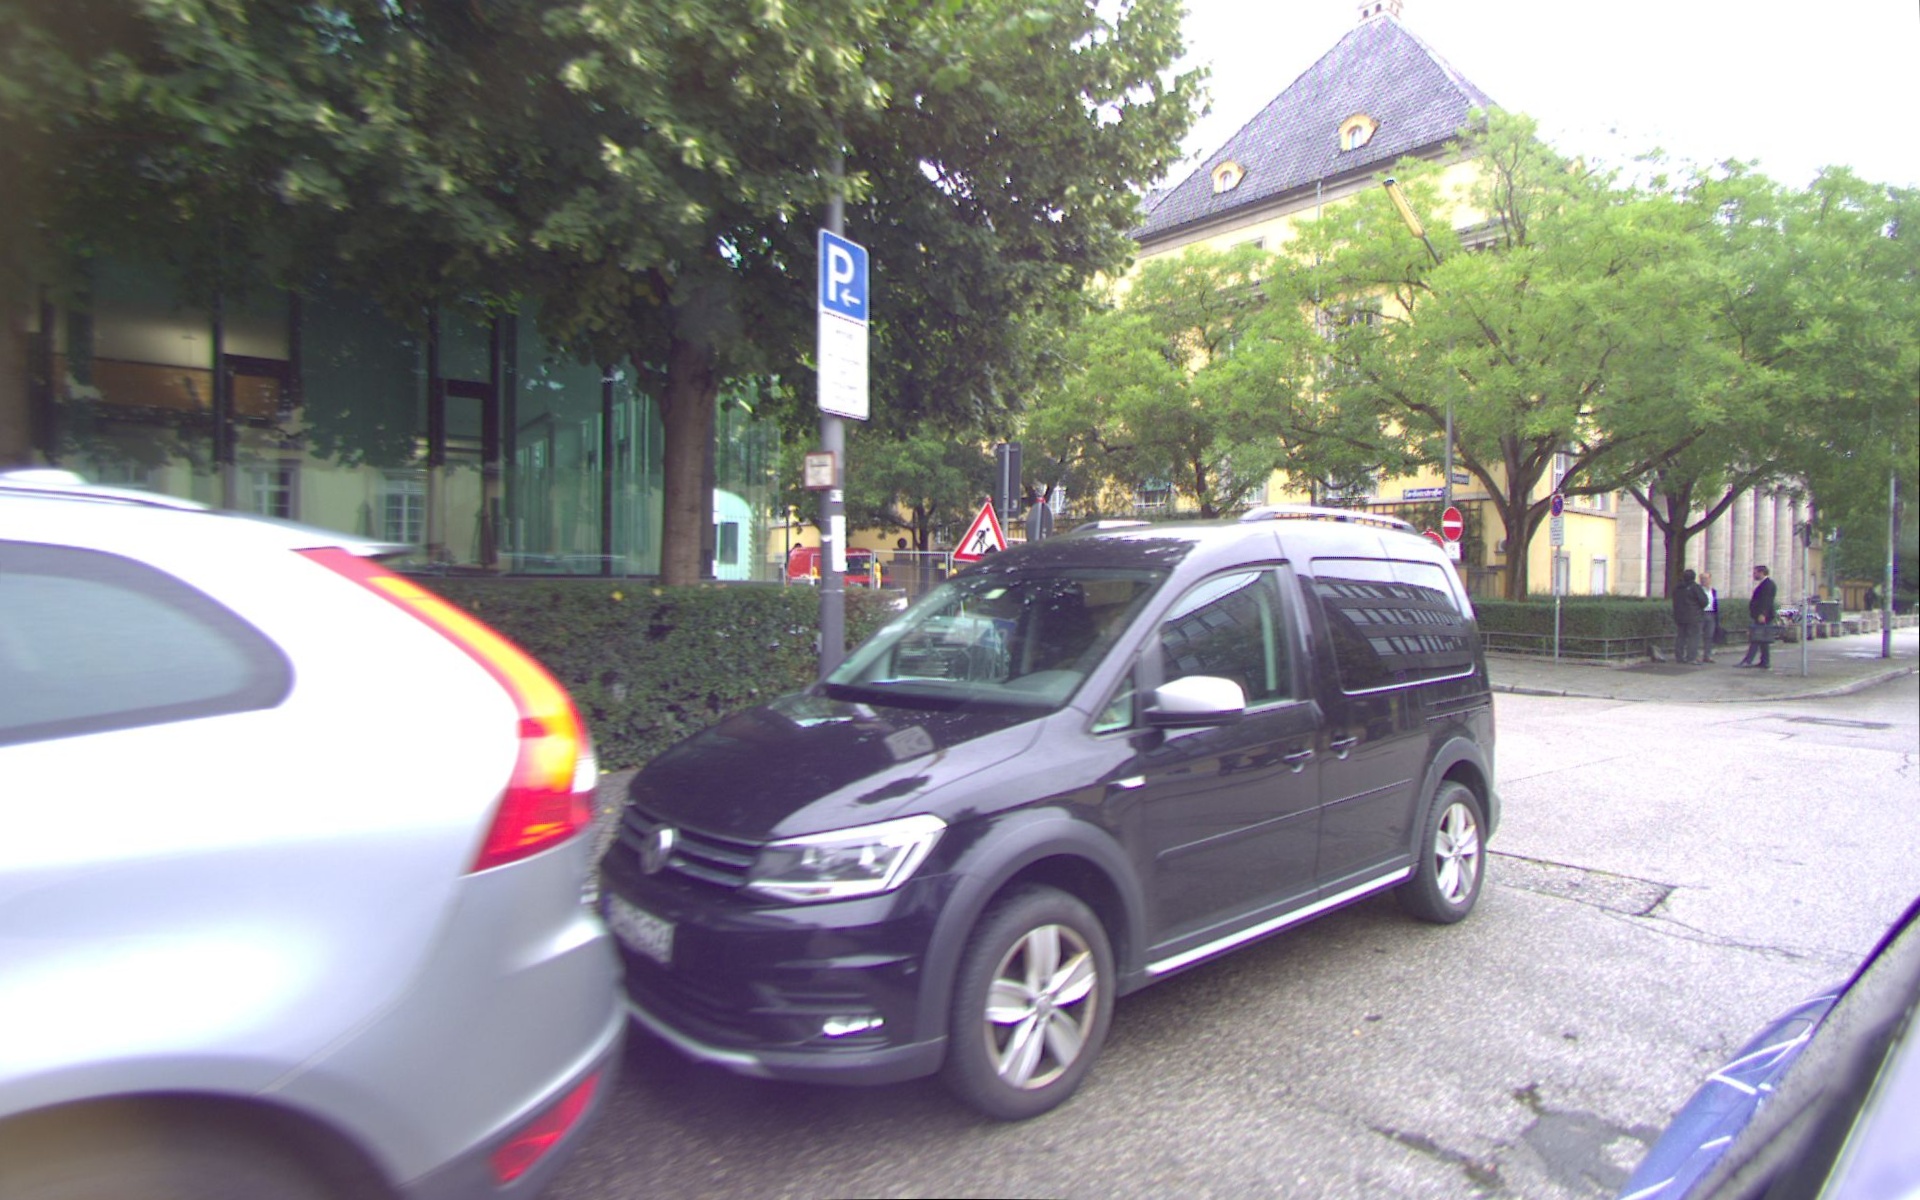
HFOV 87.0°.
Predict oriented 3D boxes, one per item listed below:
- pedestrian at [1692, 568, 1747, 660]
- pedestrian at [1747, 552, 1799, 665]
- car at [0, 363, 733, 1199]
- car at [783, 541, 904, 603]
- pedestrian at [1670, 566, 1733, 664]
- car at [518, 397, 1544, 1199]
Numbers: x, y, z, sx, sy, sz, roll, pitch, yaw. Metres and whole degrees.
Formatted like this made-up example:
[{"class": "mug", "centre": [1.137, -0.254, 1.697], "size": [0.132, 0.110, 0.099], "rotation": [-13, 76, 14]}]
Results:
[{"class": "pedestrian", "centre": [15.054, 0.271, 20.070], "size": [0.691, 1.781, 0.681], "rotation": [0, 0, 21]}, {"class": "pedestrian", "centre": [15.191, 0.152, 18.921], "size": [0.685, 2.039, 0.884], "rotation": [0, 0, 35]}, {"class": "car", "centre": [-2.819, 0.574, 1.100], "size": [4.697, 1.713, 1.872], "rotation": [0, 0, -38]}, {"class": "car", "centre": [-4.379, -0.981, 37.135], "size": [1.962, 2.090, 5.665], "rotation": [0, 0, -35]}, {"class": "pedestrian", "centre": [14.125, 0.274, 19.302], "size": [0.680, 1.808, 0.891], "rotation": [0, 0, 15]}, {"class": "car", "centre": [0.655, 0.469, 4.237], "size": [4.271, 1.831, 1.813], "rotation": [0, 0, -41]}]
